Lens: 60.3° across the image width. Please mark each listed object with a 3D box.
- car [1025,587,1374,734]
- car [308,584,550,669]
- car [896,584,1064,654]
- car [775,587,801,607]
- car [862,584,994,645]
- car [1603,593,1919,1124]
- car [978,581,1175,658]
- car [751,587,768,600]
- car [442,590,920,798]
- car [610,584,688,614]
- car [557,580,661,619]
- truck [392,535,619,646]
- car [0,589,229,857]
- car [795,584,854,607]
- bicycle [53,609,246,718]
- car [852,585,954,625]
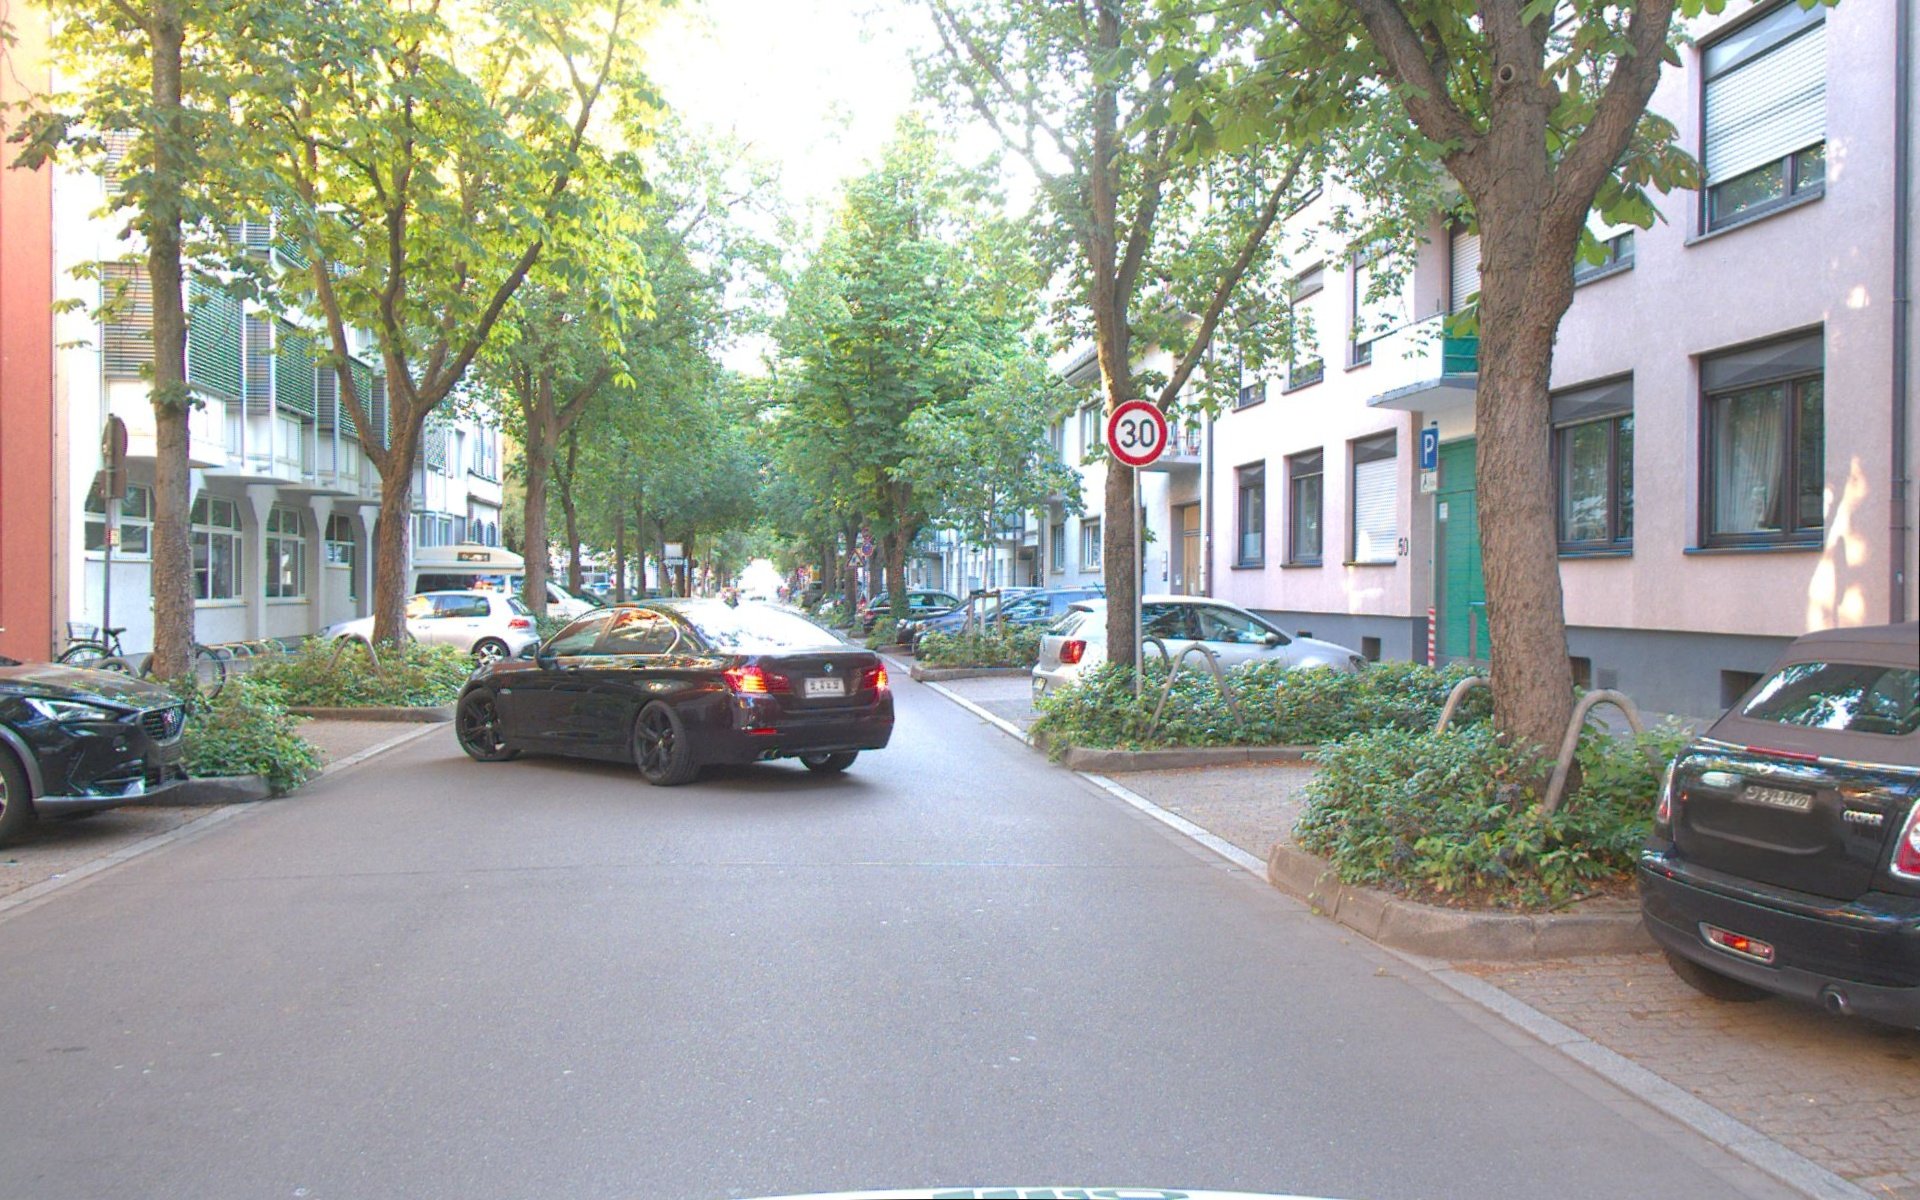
[{"bbox_3d":[2.638,0.630,18.581,3.589,1.505,1.562,-1,1,-9],"label":"car"},{"bbox_3d":[-9.893,0.486,31.058,4.054,1.497,1.638,1,0,-7],"label":"car"},{"bbox_3d":[0.452,0.425,38.750,3.722,1.556,1.562,-1,1,-9],"label":"car"},{"bbox_3d":[-13.872,-0.250,133.245,1.956,1.579,3.994,0,1,-7],"label":"car"},{"bbox_3d":[-0.948,0.394,47.506,3.589,1.563,1.562,-2,1,-9],"label":"car"},{"bbox_3d":[4.371,0.688,5.796,3.638,1.452,1.622,-3,1,-12],"label":"car"},{"bbox_3d":[2.254,0.355,32.422,3.589,1.417,1.562,-1,1,-9],"label":"car"},{"bbox_3d":[-22.962,-0.739,189.278,1.858,1.500,3.995,0,1,-6],"label":"car"},{"bbox_3d":[-2.539,0.665,14.178,1.755,1.475,4.591,0,1,-45],"label":"car"},{"bbox_3d":[-16.432,-0.041,87.504,3.945,1.497,1.638,1,0,-7],"label":"car"},{"bbox_3d":[-14.145,-0.018,66.842,3.945,1.497,1.638,1,0,-7],"label":"car"},{"bbox_3d":[-10.710,-0.246,39.279,4.903,2.483,1.914,1,1,-6],"label":"truck"},{"bbox_3d":[-7.118,0.691,10.341,4.274,1.535,1.832,1,0,-7],"label":"car"},{"bbox_3d":[-8.445,-0.278,103.189,3.589,1.417,1.562,0,0,-9],"label":"car"},{"bbox_3d":[-9.331,0.715,19.103,1.939,1.220,0.499,0,0,-18],"label":"bicycle"},{"bbox_3d":[-2.105,0.168,60.675,3.589,1.417,1.562,-1,1,-9],"label":"car"}]
